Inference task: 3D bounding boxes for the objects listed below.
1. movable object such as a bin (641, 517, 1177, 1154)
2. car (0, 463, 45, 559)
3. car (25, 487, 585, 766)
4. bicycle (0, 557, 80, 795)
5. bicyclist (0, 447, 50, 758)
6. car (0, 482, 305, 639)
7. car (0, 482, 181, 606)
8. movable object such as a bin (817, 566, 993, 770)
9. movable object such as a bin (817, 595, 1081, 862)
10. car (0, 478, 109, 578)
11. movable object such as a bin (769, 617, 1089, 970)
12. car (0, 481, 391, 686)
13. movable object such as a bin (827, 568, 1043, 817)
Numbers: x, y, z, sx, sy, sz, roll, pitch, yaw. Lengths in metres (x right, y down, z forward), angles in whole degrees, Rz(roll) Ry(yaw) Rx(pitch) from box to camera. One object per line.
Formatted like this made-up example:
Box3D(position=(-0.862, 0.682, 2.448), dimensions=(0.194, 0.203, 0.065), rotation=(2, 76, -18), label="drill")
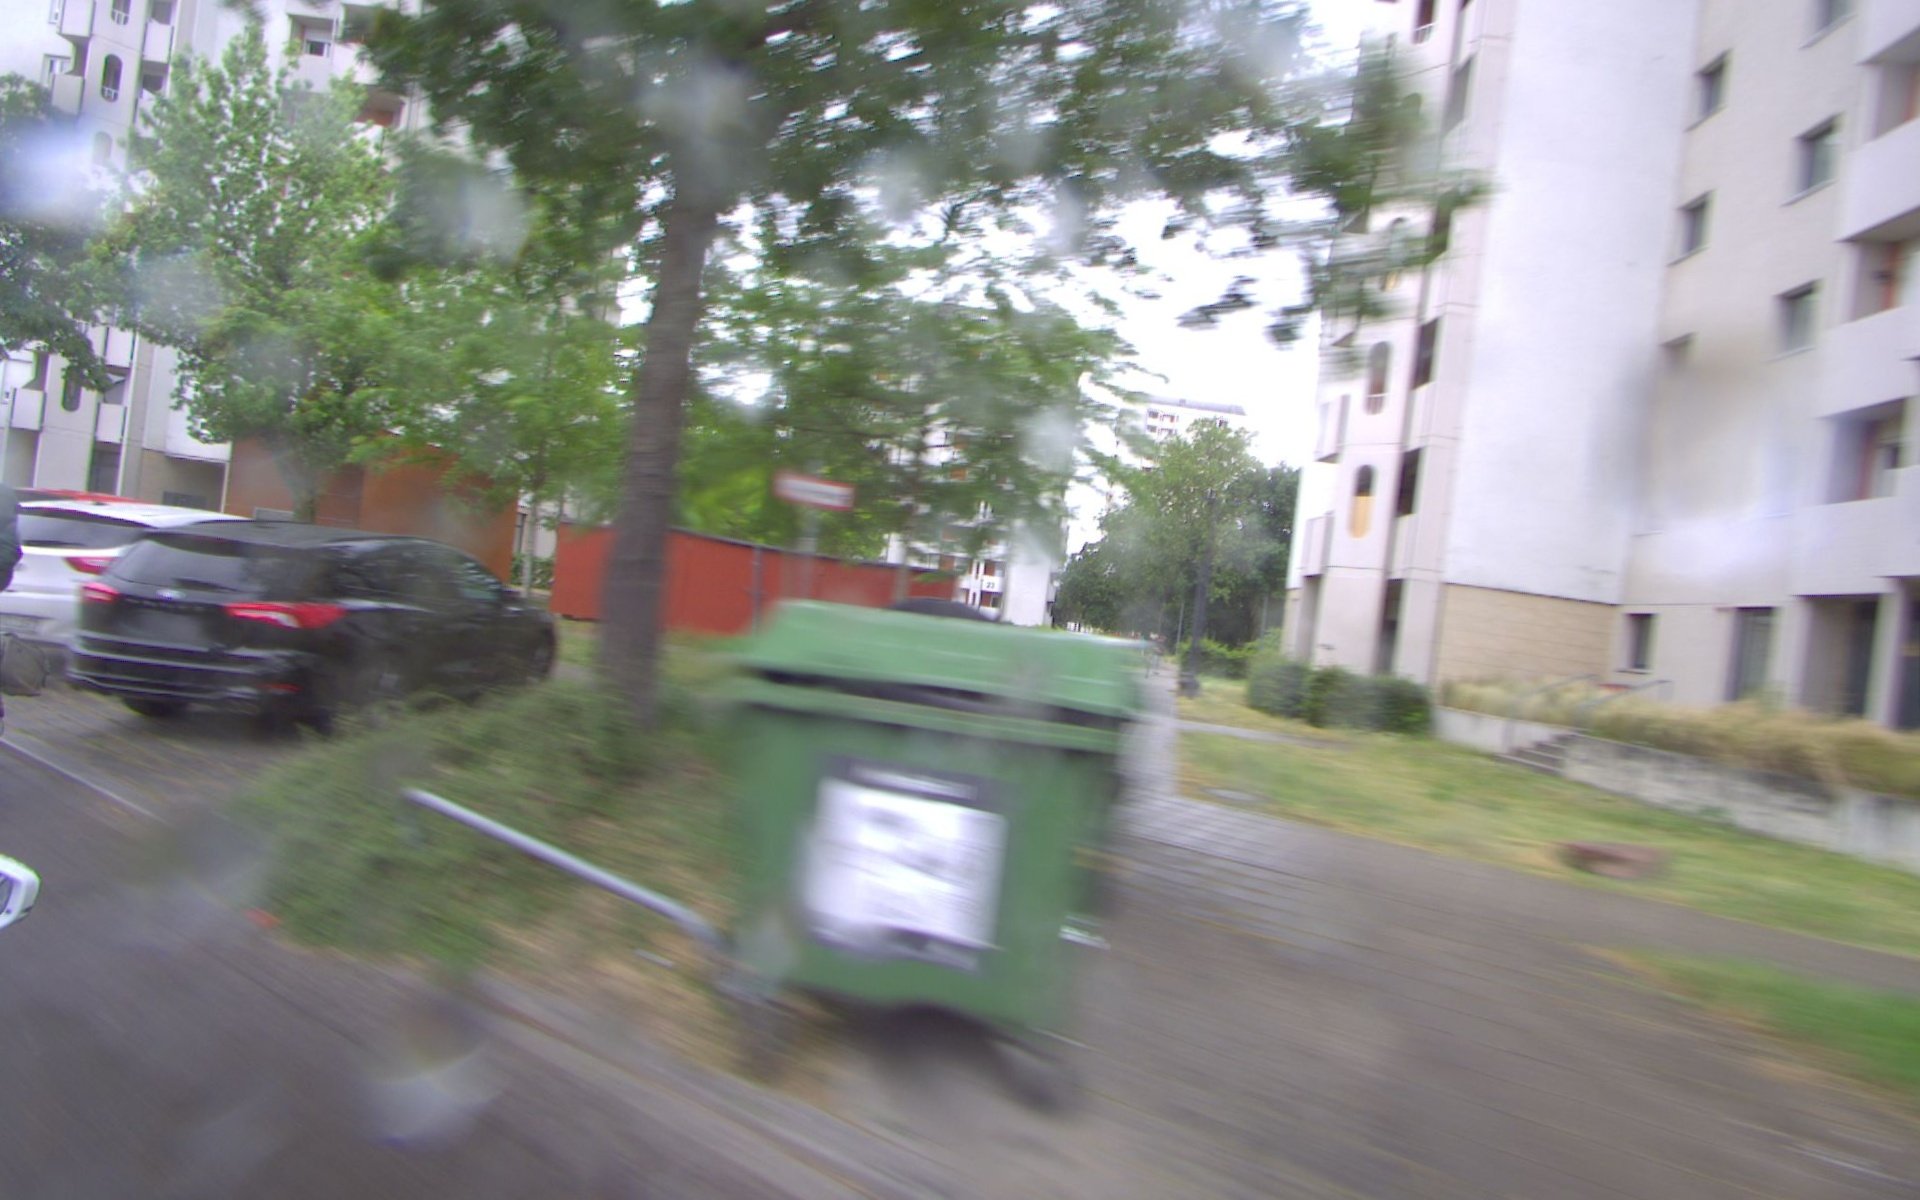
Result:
Box3D(position=(-0.082, 0.660, 3.399), dimensions=(1.348, 1.580, 1.165), rotation=(7, -1, 9), label="movable object such as a bin")
Box3D(position=(-17.885, -1.621, 16.596), dimensions=(1.781, 1.694, 4.451), rotation=(7, 2, -7), label="car")
Box3D(position=(-4.891, 0.104, 8.447), dimensions=(1.653, 1.563, 4.456), rotation=(6, 2, 1), label="car")
Box3D(position=(-5.421, 0.285, 5.211), dimensions=(1.914, 1.106, 0.538), rotation=(6, -1, 27), label="bicycle")
Box3D(position=(-5.292, -0.029, 5.163), dimensions=(0.759, 1.578, 0.535), rotation=(7, -1, 26), label="bicyclist")
Box3D(position=(-10.140, -0.536, 12.137), dimensions=(1.778, 1.447, 4.452), rotation=(7, 2, -6), label="car")
Box3D(position=(-12.469, -0.767, 12.761), dimensions=(1.654, 1.447, 4.455), rotation=(7, 2, -1), label="car")
Box3D(position=(-0.511, 0.547, 8.440), dimensions=(1.167, 1.438, 1.365), rotation=(7, -1, -10), label="movable object such as a bin")
Box3D(position=(-0.126, 0.688, 5.823), dimensions=(1.168, 1.266, 1.240), rotation=(8, -2, -12), label="movable object such as a bin")
Box3D(position=(-15.199, -1.144, 14.707), dimensions=(1.736, 1.428, 4.455), rotation=(7, 2, -2), label="car")
Box3D(position=(-0.166, 0.820, 4.640), dimensions=(1.166, 1.328, 0.997), rotation=(7, -1, -6), label="movable object such as a bin")
Box3D(position=(-7.866, -0.254, 10.074), dimensions=(1.787, 1.484, 4.455), rotation=(7, 2, -2), label="car")
Box3D(position=(-0.233, 0.608, 7.033), dimensions=(1.167, 1.438, 1.365), rotation=(7, -1, -10), label="movable object such as a bin")
